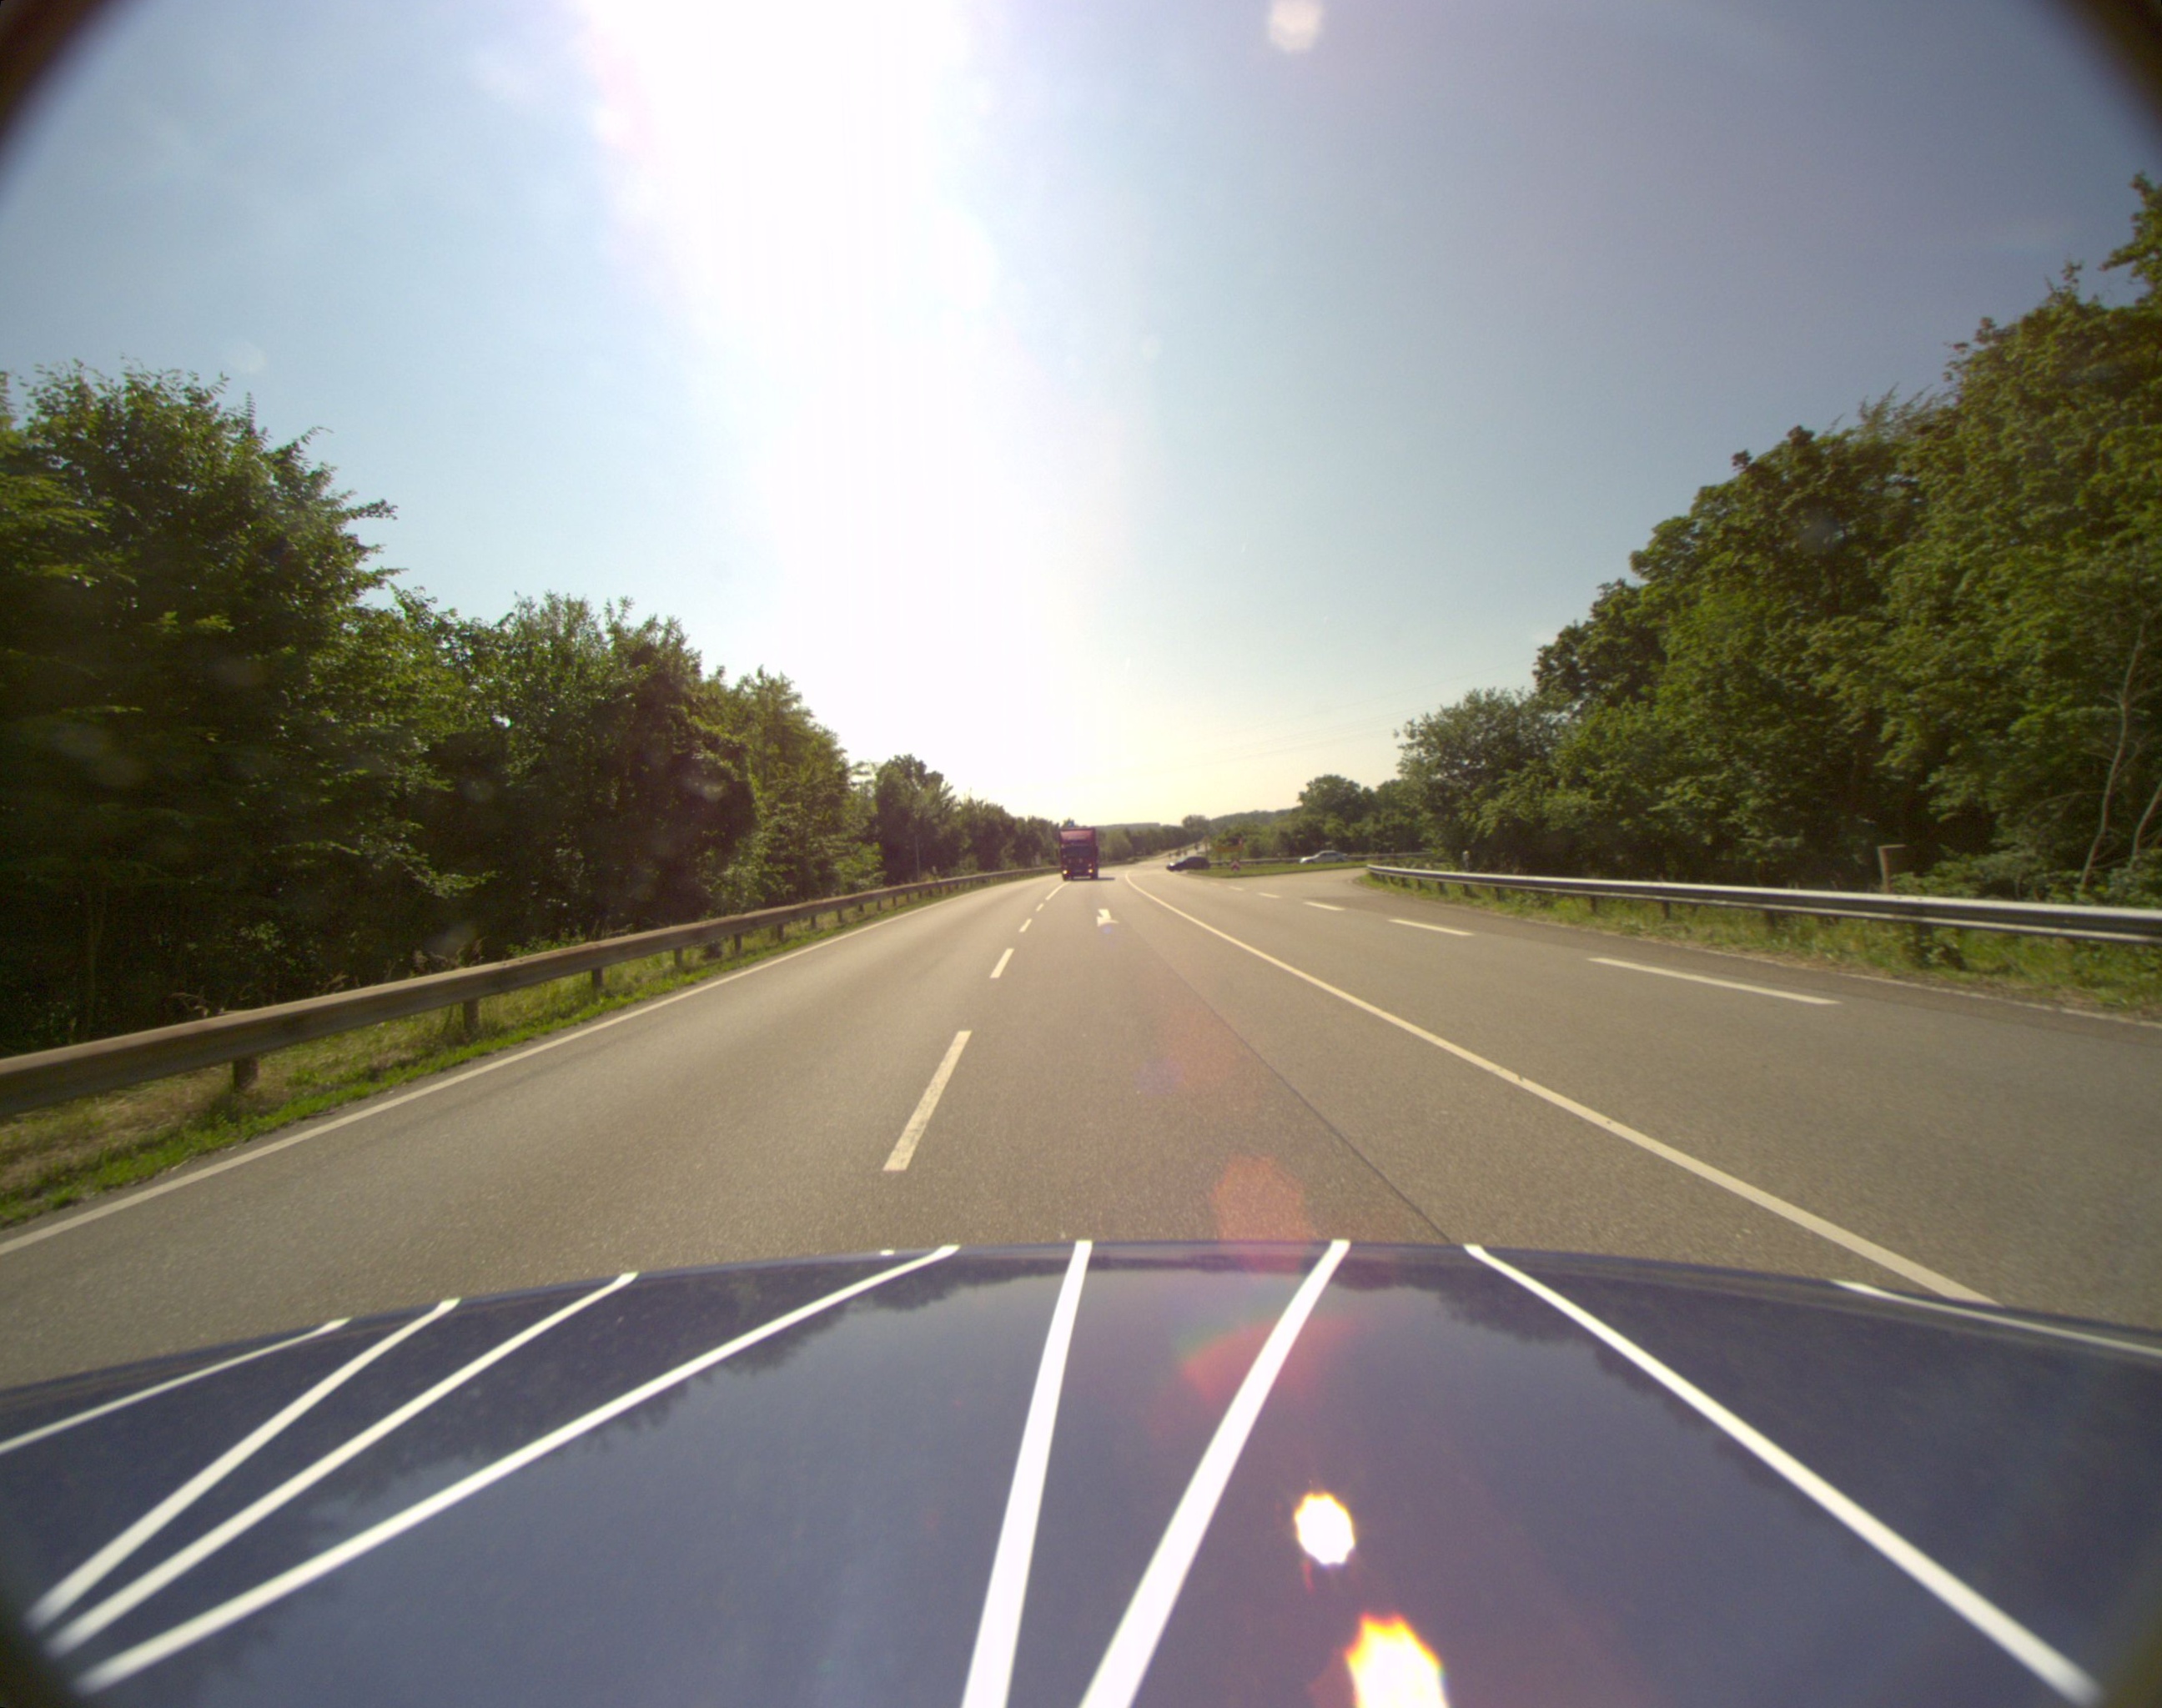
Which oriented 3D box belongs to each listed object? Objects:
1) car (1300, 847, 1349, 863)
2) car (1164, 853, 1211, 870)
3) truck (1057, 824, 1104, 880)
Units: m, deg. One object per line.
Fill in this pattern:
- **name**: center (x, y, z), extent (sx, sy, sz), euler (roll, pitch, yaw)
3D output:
- **car**: center (23.776, 0.117, 74.327), extent (4.372, 1.377, 1.790), euler (-2, 0, 9)
- **car**: center (10.198, 0.699, 72.632), extent (4.003, 1.406, 1.786), euler (-2, 0, -18)
- **truck**: center (0.110, -0.148, 55.233), extent (2.688, 3.640, 9.265), euler (-2, 0, 4)
